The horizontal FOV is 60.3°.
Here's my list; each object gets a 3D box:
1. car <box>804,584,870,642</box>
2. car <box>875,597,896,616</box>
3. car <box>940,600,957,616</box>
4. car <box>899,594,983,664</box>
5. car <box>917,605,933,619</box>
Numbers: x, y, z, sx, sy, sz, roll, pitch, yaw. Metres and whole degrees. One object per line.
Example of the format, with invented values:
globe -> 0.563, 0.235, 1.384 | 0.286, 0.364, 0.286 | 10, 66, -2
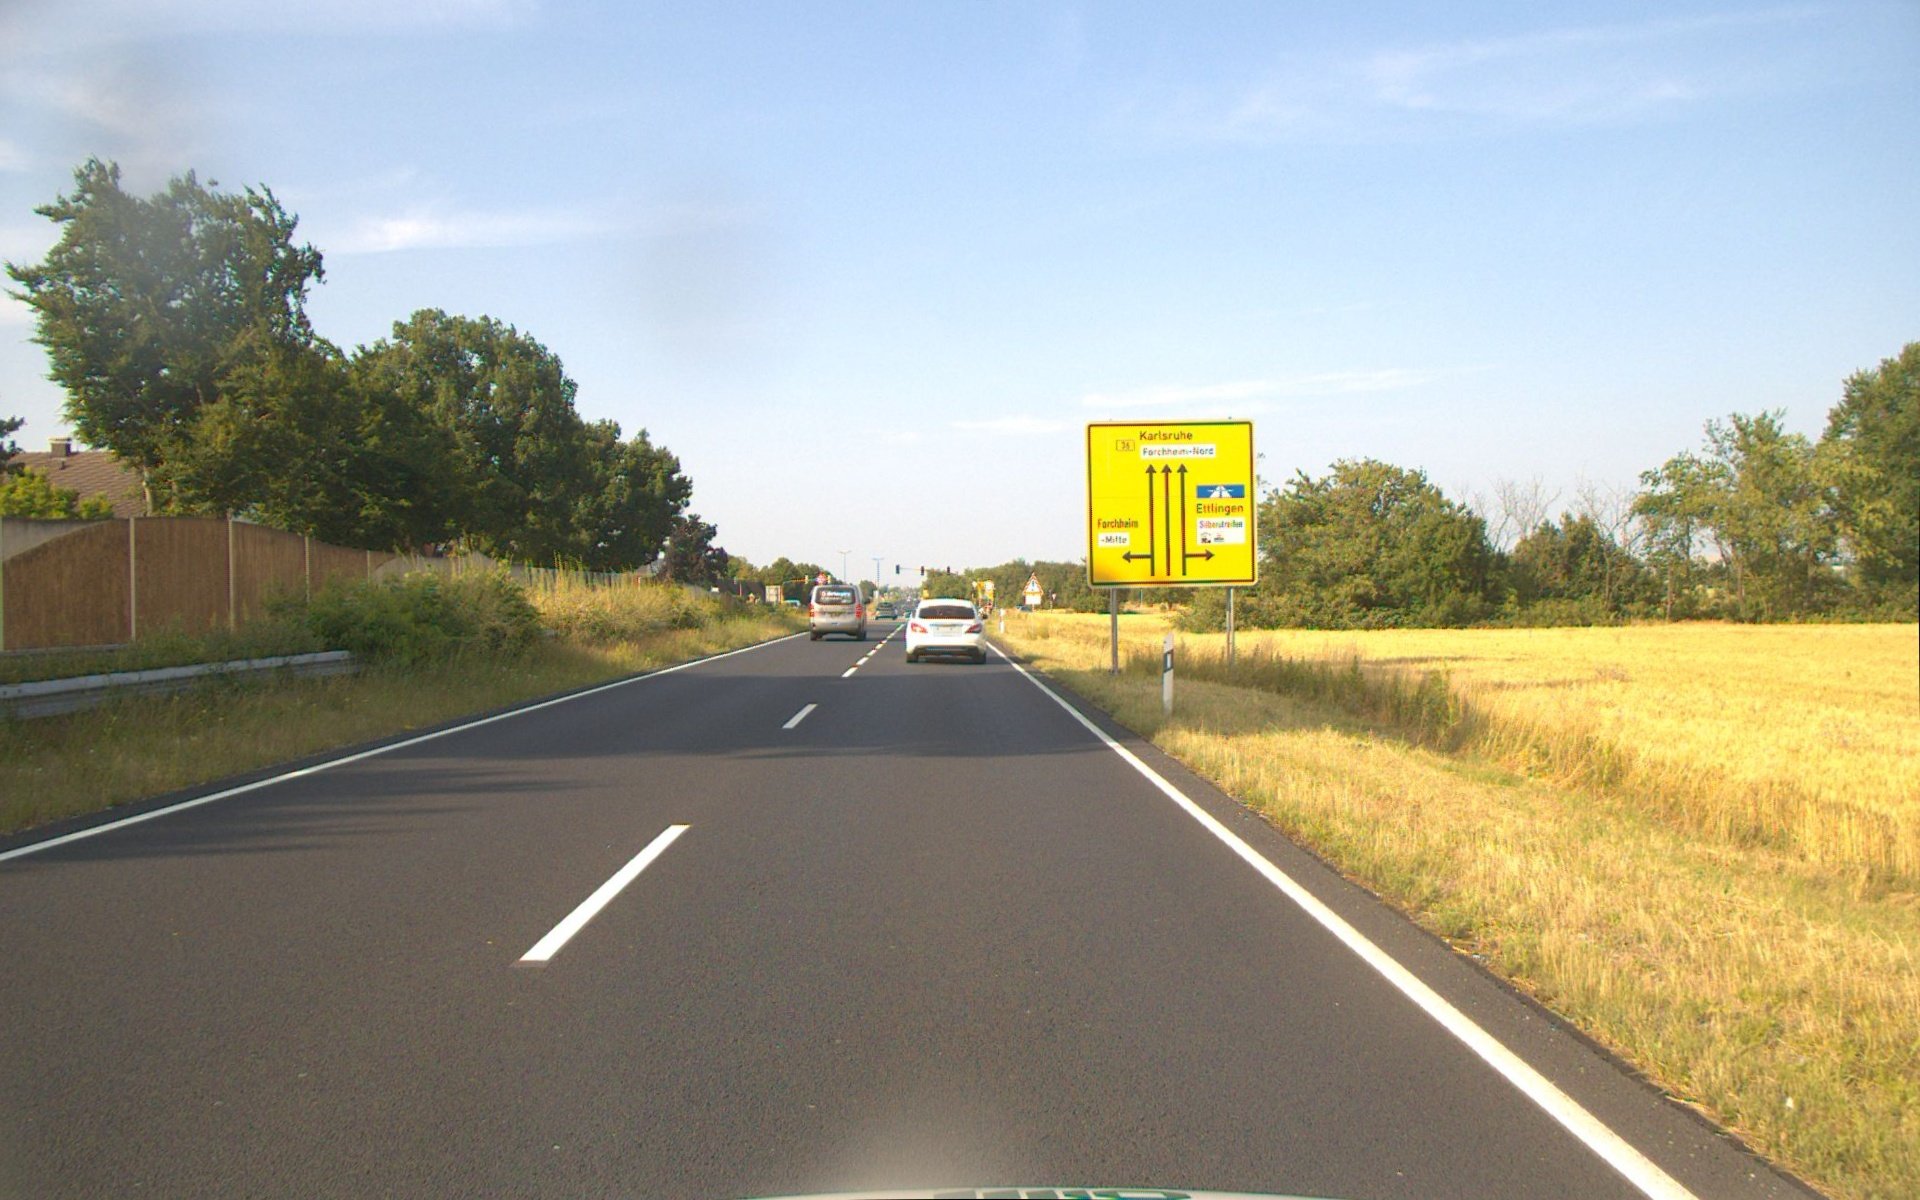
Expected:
car -> -4.268, 0.418, 58.009 | 1.984, 1.925, 4.957 | 1, 0, -1
car -> -6.229, 0.526, 139.070 | 1.682, 1.518, 3.583 | 1, 0, -1
car -> -1.230, 0.826, 171.606 | 1.718, 1.543, 3.999 | -1, 0, -1
car -> -0.478, 0.648, 38.707 | 1.856, 1.535, 3.998 | 0, 0, -2
car -> -4.376, 1.470, 207.188 | 1.801, 1.713, 4.000 | 1, 0, 1
